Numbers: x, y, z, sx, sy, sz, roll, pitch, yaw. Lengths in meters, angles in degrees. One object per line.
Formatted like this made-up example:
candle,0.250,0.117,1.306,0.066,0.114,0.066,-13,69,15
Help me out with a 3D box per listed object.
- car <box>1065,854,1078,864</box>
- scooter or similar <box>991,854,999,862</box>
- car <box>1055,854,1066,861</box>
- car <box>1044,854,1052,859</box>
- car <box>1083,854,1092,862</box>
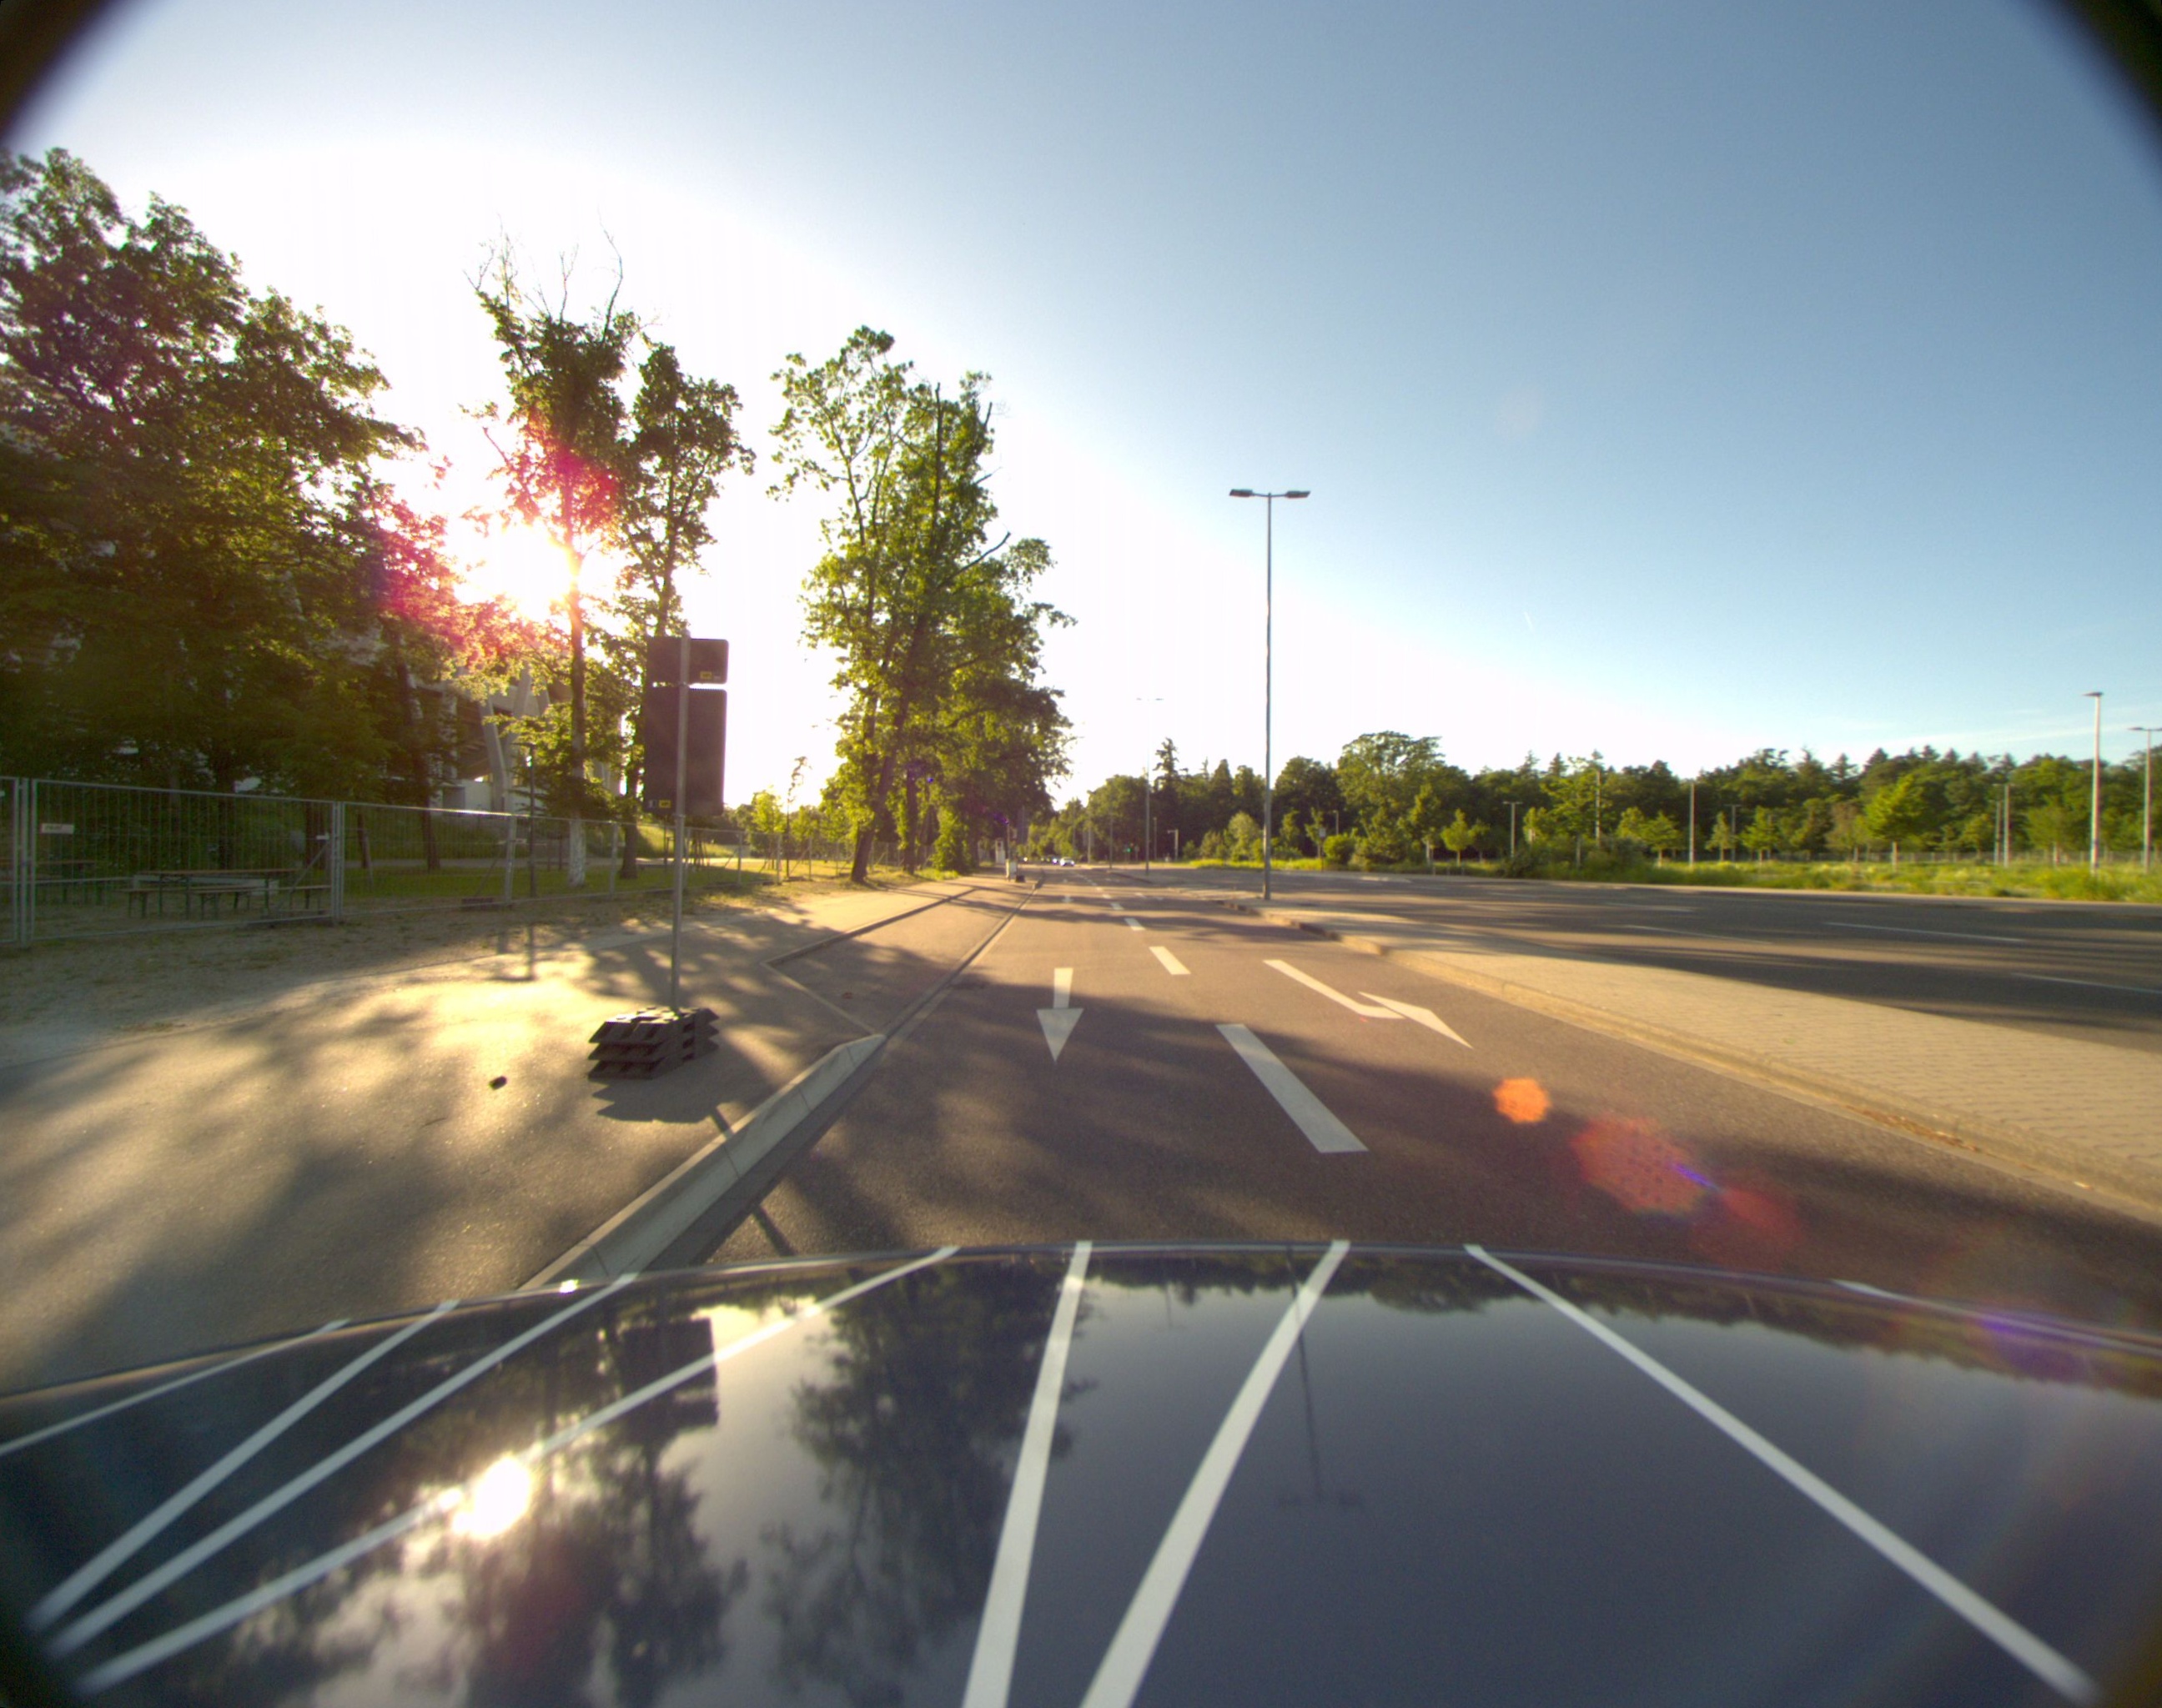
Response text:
car,-1.507,0.754,116.428,1.841,1.395,3.999,-1,0,-3
scooter or similar,-14.044,0.676,124.028,1.303,1.230,0.334,0,0,-38
car,-3.842,0.629,143.958,1.841,1.395,4.990,-1,0,-3
car,-9.212,0.690,209.876,1.842,1.395,4.989,-1,0,-5
car,1.584,0.896,176.097,1.788,1.682,4.701,-1,0,-3
